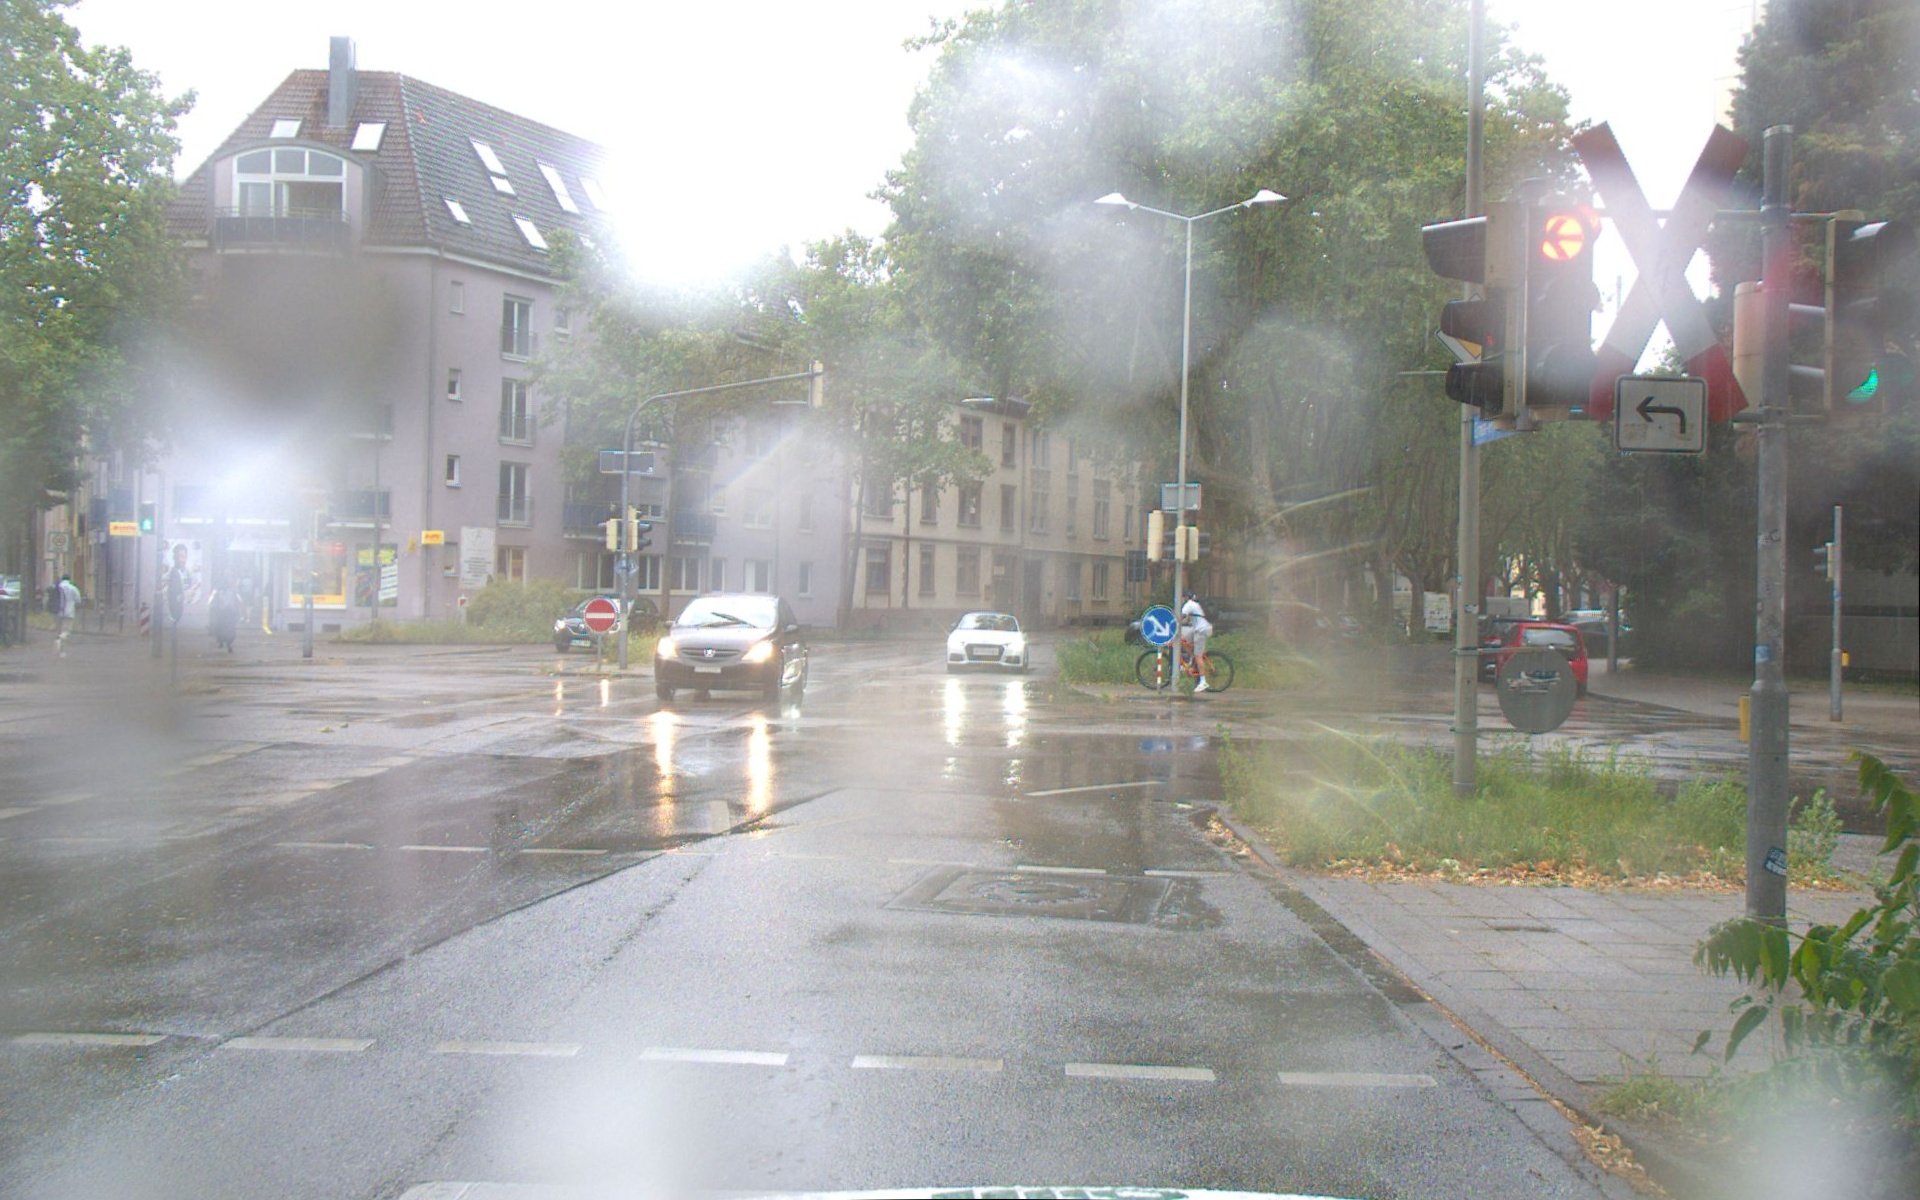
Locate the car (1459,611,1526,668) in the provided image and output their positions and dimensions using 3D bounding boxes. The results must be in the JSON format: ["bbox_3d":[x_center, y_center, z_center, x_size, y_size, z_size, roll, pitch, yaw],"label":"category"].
[{"bbox_3d":[18.333,1.328,57.076,1.881,1.837,4.003,1,0,13],"label":"car"}]

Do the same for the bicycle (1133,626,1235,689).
[{"bbox_3d":[4.116,1.051,30.431,1.833,1.100,0.657,1,0,7],"label":"bicycle"}]

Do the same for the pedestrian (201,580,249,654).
[{"bbox_3d":[-15.686,0.360,35.305,0.736,1.560,0.789,1,-1,-12],"label":"pedestrian"}]

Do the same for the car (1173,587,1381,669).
[{"bbox_3d":[6.274,0.536,32.780,3.902,1.512,2.002,1,0,12],"label":"car"}]

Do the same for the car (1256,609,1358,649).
[{"bbox_3d":[13.765,1.138,65.660,3.902,1.512,2.002,1,0,12],"label":"car"}]

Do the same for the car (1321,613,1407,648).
[{"bbox_3d":[19.249,1.437,78.915,3.902,1.574,2.002,1,0,12],"label":"car"}]

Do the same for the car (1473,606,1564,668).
[{"bbox_3d":[13.885,0.876,41.294,1.745,1.371,3.932,2,1,13],"label":"car"}]

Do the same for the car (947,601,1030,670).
[{"bbox_3d":[0.687,0.796,39.105,1.845,1.461,4.001,1,0,1],"label":"car"}]

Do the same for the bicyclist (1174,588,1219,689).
[{"bbox_3d":[4.350,0.696,30.408,0.778,1.817,0.697,1,-1,7],"label":"bicyclist"}]

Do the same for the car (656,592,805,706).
[{"bbox_3d":[-3.213,0.651,23.767,1.679,1.485,3.747,1,0,-1],"label":"car"}]

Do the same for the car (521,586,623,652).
[{"bbox_3d":[-9.638,0.445,41.332,1.716,1.538,3.838,1,0,-2],"label":"car"}]

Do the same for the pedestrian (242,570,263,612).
[{"bbox_3d":[-22.824,-0.287,53.349,0.550,1.353,0.443,1,-1,-16],"label":"pedestrian"}]

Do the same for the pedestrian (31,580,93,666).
[{"bbox_3d":[-17.383,0.445,32.033,0.659,1.628,0.968,1,0,-1],"label":"pedestrian"}]

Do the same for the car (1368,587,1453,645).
[{"bbox_3d":[23.942,0.842,88.057,2.005,2.999,4.742,1,0,-21],"label":"car"}]

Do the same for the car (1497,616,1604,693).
[{"bbox_3d":[13.039,1.162,36.724,1.754,1.524,4.003,1,0,13],"label":"car"}]

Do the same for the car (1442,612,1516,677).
[{"bbox_3d":[14.977,1.252,47.897,1.745,1.757,4.003,1,0,13],"label":"car"}]
